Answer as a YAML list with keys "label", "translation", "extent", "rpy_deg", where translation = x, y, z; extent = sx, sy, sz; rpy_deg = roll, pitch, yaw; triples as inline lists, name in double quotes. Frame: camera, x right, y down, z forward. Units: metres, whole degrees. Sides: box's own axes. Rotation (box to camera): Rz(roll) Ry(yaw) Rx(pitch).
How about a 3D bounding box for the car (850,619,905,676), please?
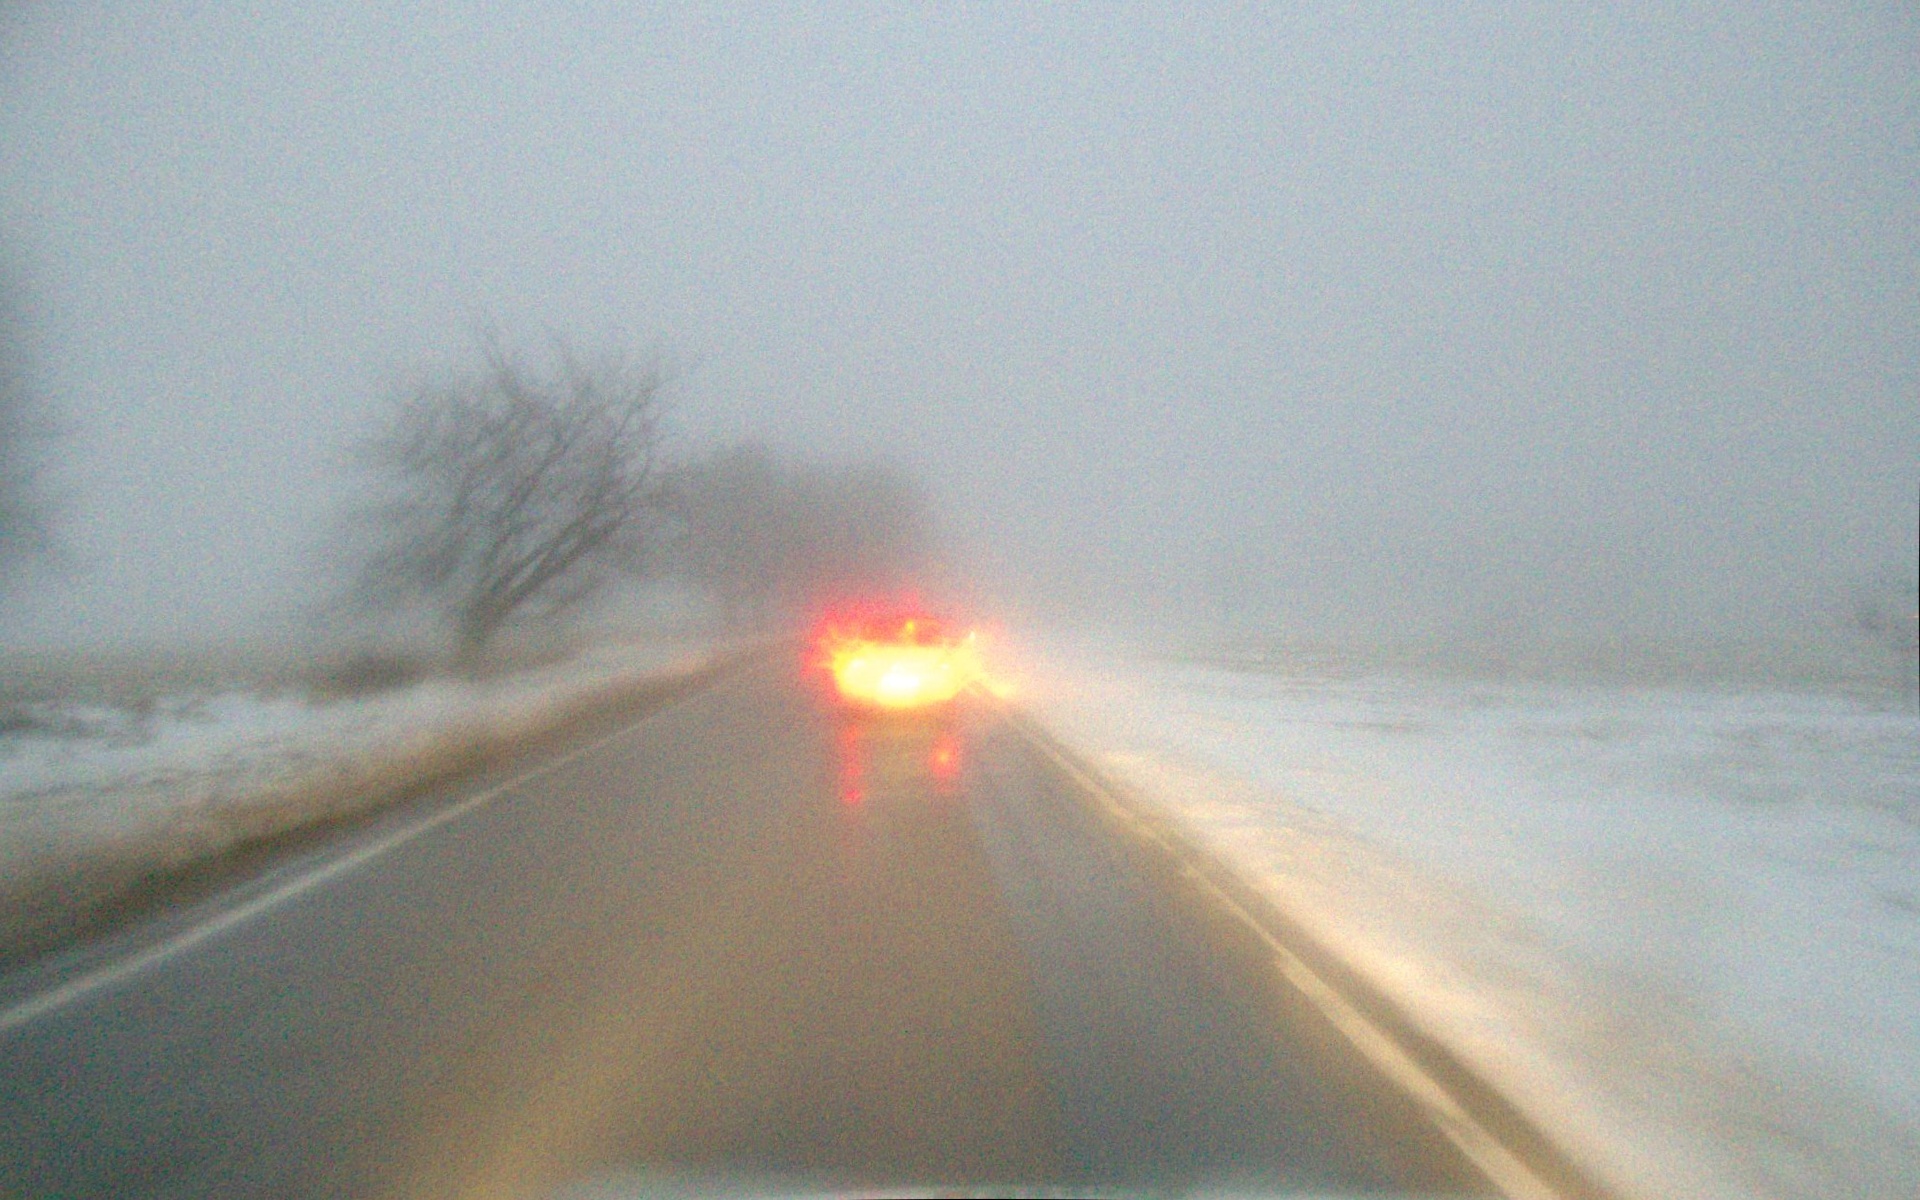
- label: "car"
  translation: [-2.300, 1.307, 46.499]
  extent: [1.448, 1.534, 3.052]
  rpy_deg: [0, 0, -1]

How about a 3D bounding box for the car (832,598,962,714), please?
- label: "car"
  translation: [-0.922, 0.749, 24.020]
  extent: [1.673, 1.489, 3.998]
  rpy_deg: [2, 0, -2]
